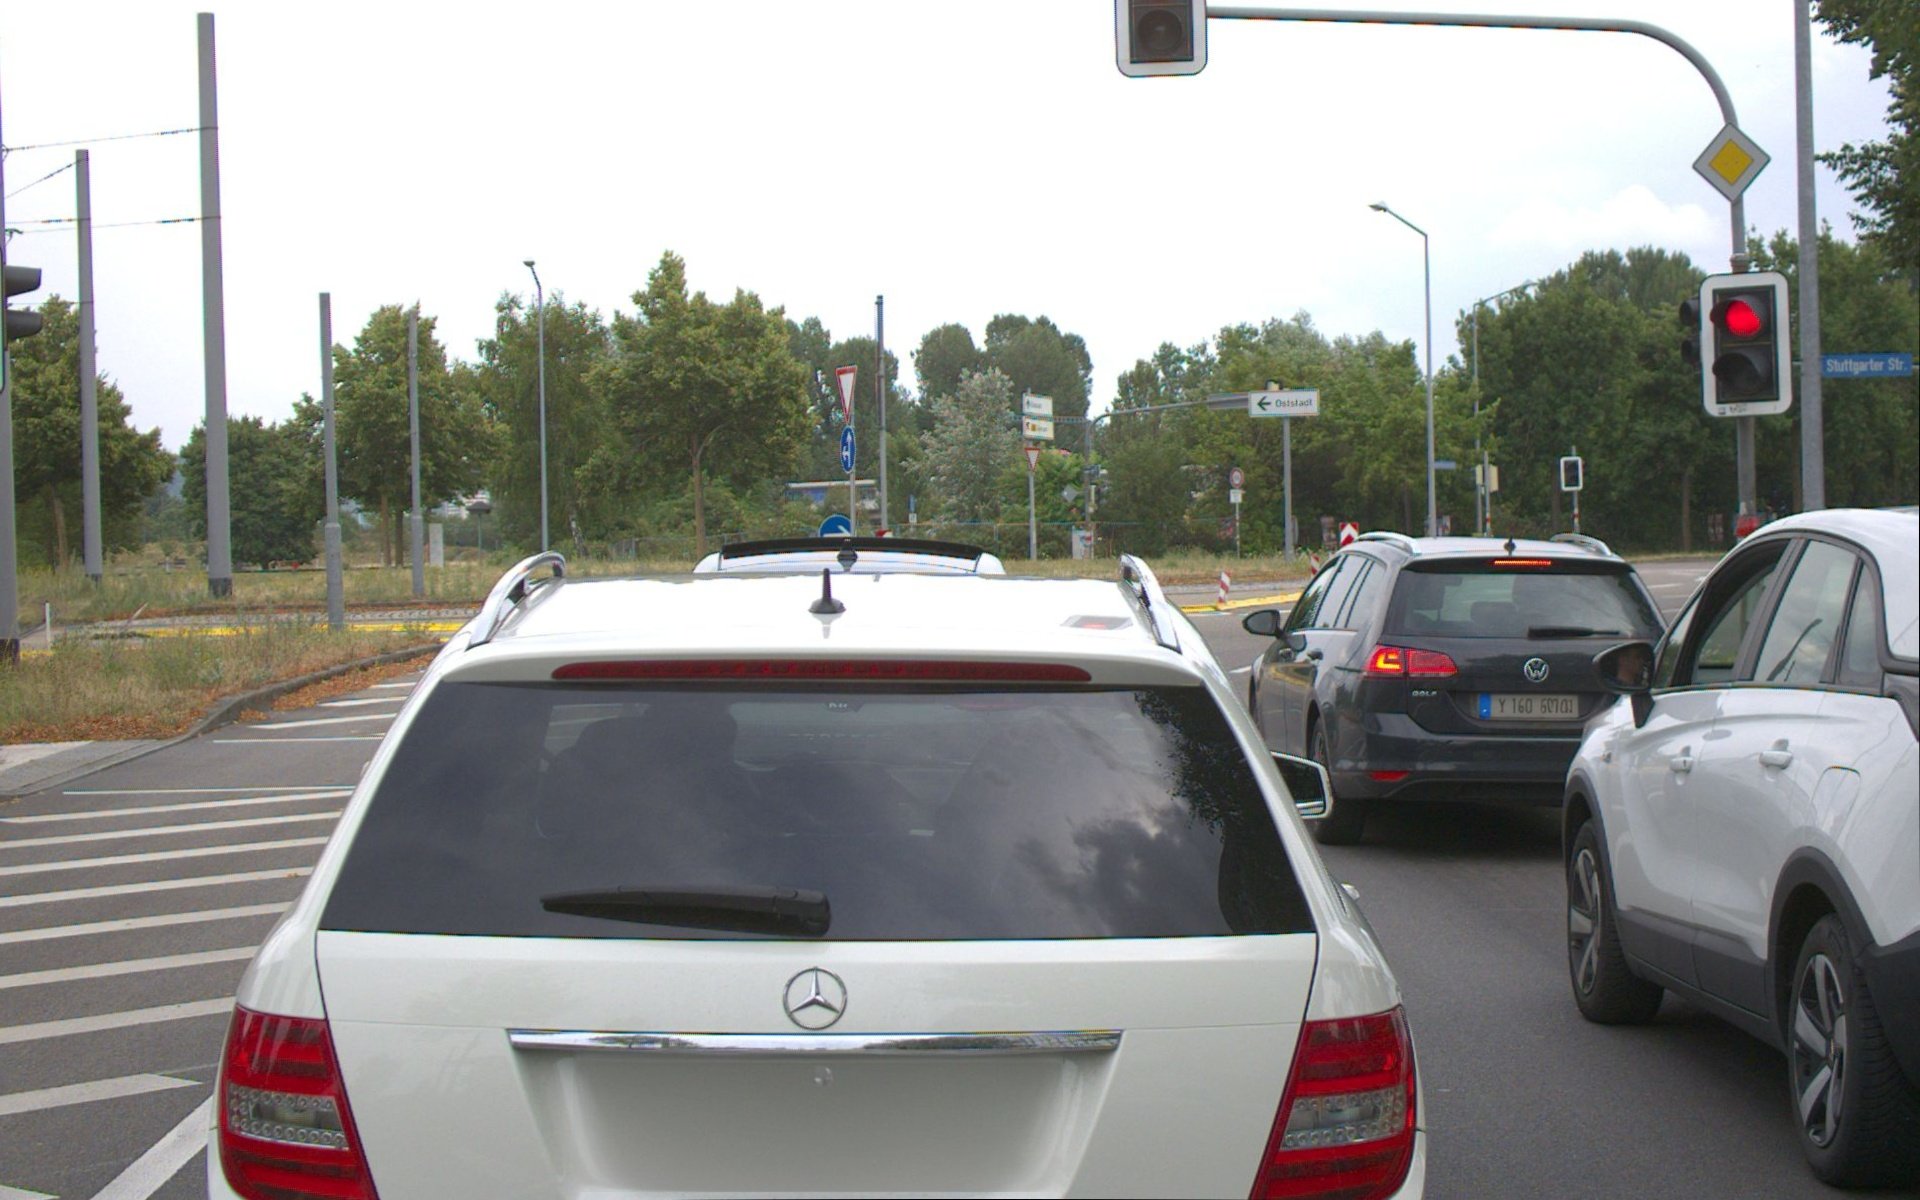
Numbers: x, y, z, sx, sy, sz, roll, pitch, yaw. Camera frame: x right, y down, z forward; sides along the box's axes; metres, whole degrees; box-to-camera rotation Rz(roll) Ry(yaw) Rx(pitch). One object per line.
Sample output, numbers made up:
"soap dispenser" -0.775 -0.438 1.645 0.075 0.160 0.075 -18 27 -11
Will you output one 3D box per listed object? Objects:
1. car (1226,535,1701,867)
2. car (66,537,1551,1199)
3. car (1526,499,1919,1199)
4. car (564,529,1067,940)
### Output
"car" 2.377 0.411 17.145 1.624 1.443 3.911 0 1 -2
"car" -0.263 0.627 6.080 1.773 1.443 3.911 0 1 -2
"car" 2.741 0.540 9.111 1.787 1.619 3.911 -1 1 0
"car" -0.595 0.440 14.152 1.773 1.443 3.911 0 1 -2
